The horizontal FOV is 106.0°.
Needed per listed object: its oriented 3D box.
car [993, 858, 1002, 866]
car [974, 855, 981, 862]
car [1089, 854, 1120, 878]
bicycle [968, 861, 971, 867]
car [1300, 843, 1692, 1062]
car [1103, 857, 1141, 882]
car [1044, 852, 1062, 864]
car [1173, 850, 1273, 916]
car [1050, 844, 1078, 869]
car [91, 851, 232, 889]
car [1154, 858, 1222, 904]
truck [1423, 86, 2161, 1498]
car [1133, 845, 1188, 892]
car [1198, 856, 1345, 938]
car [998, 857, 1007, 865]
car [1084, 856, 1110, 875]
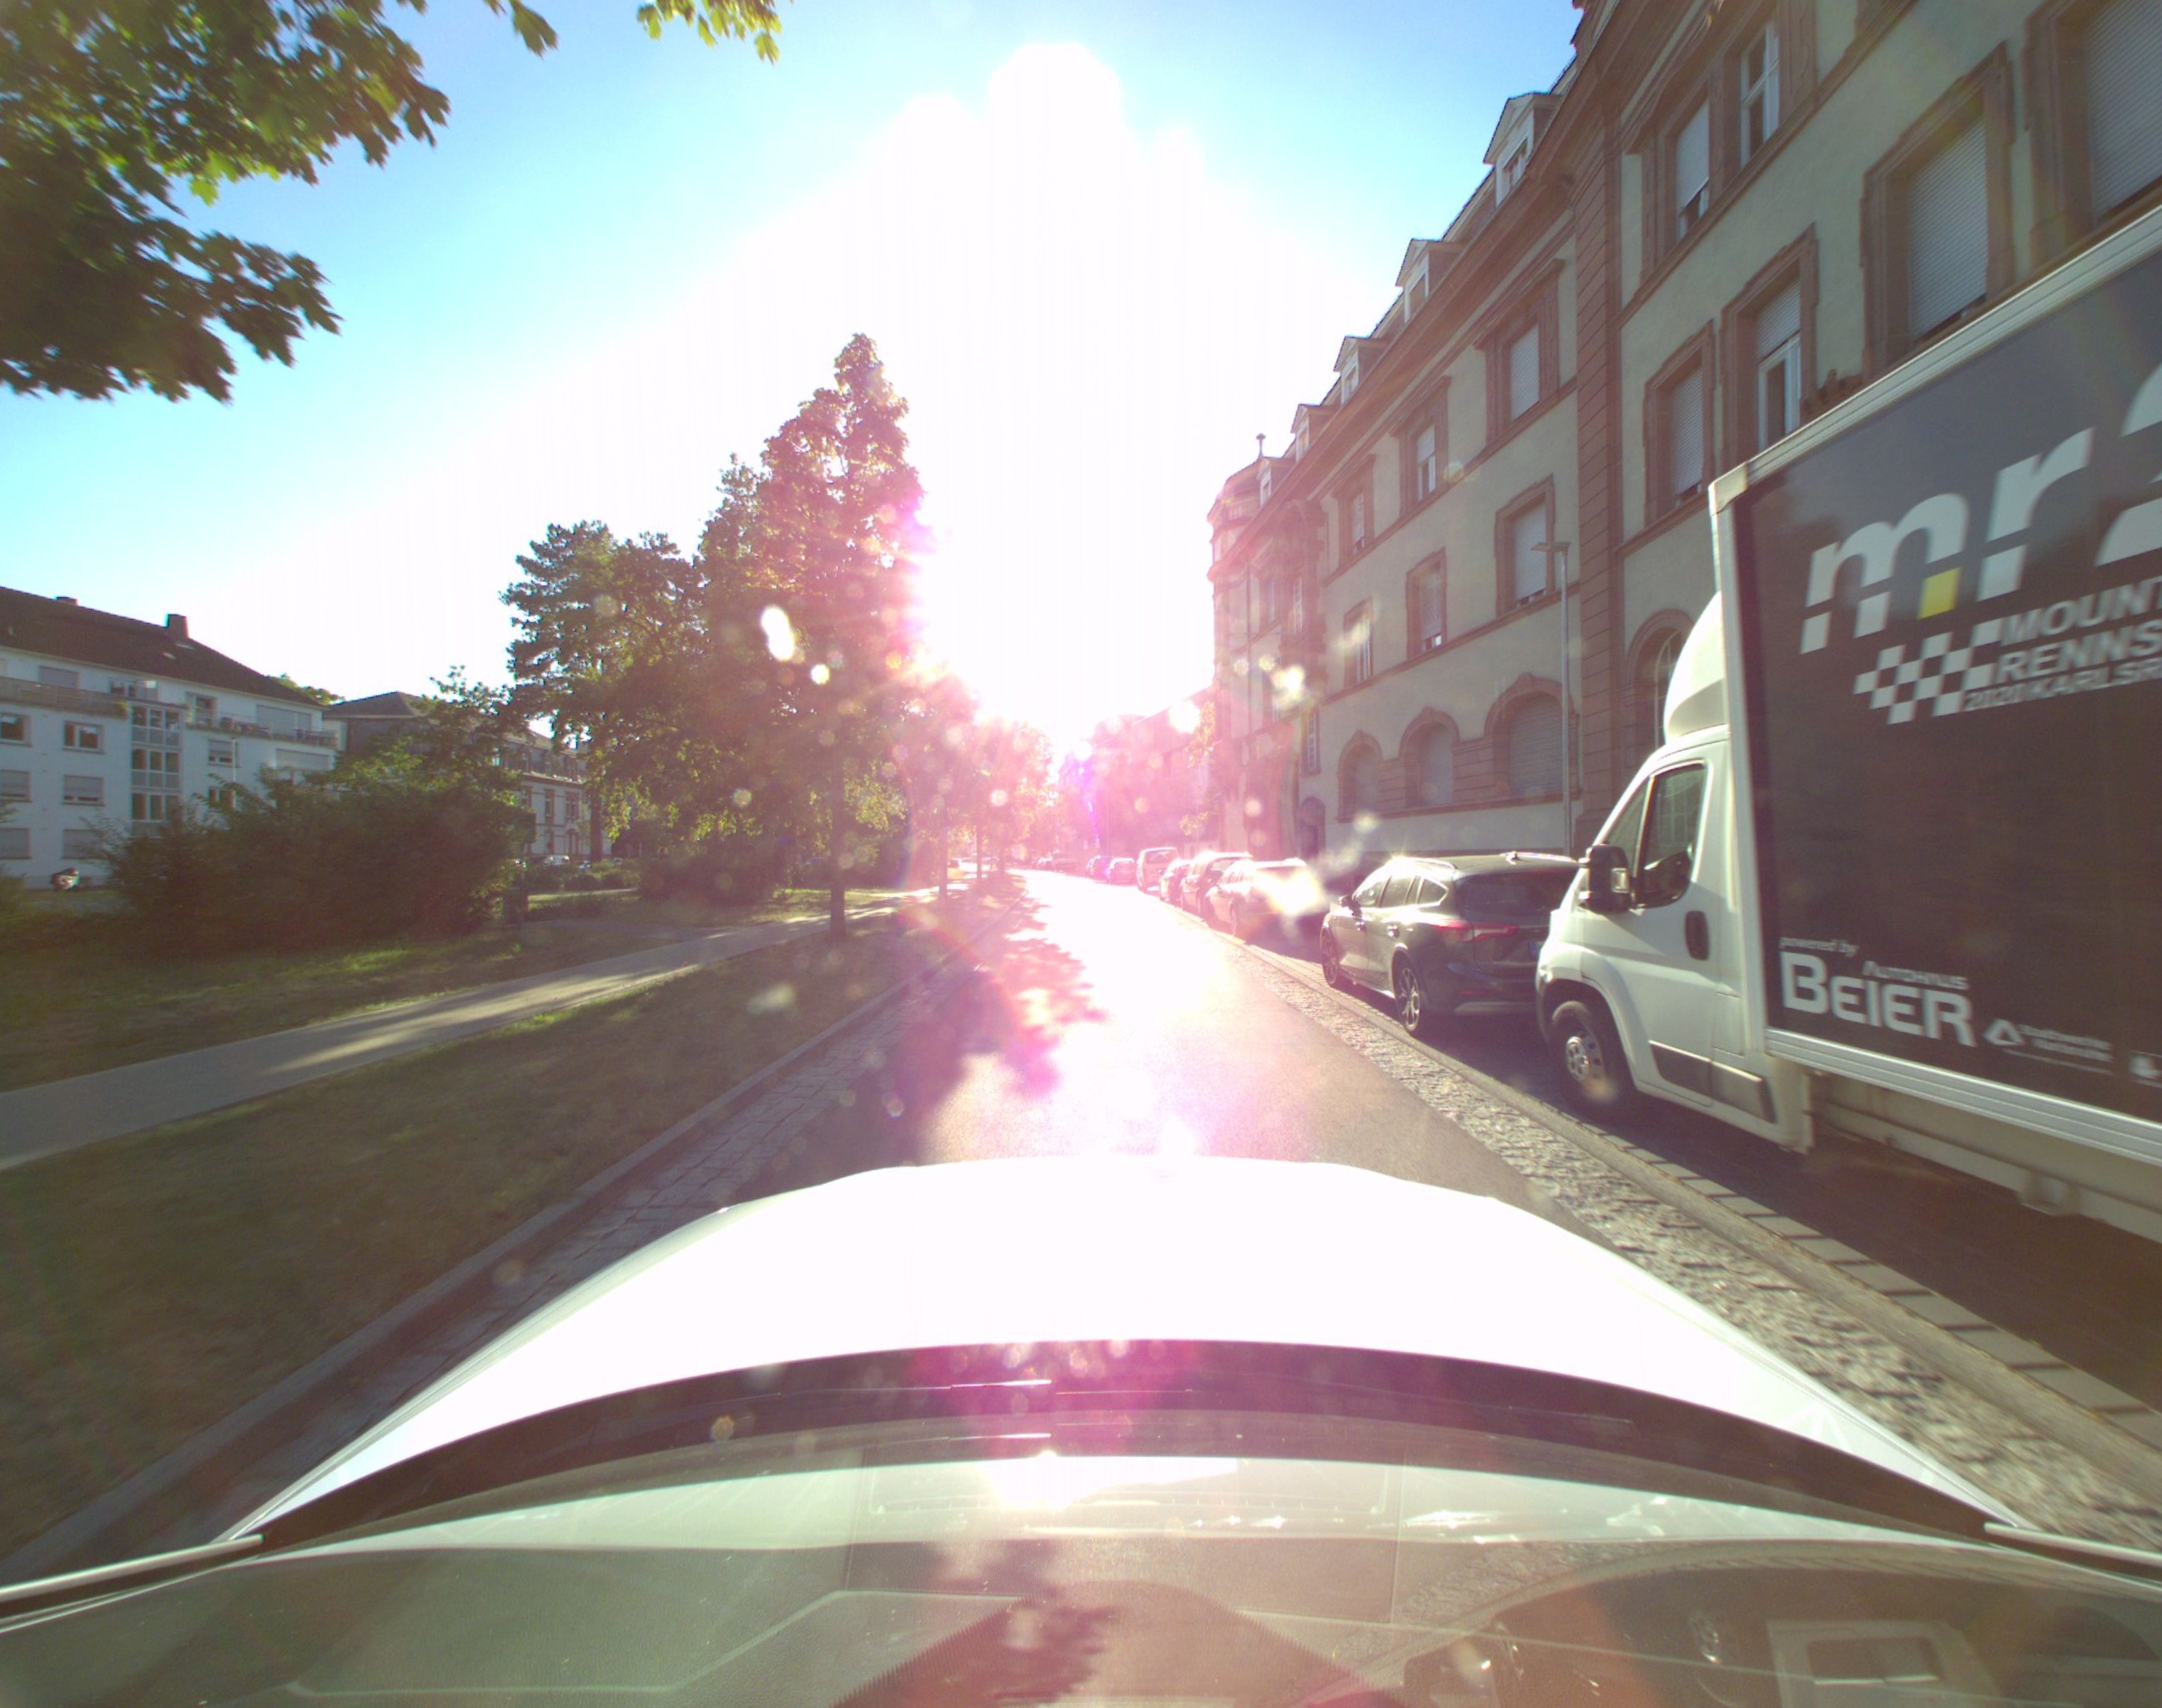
[{"bbox_3d":[-18.192,1.798,176.674,1.793,1.724,3.988,0,0,-9],"label":"car"},{"bbox_3d":[-29.097,1.350,228.241,1.793,1.999,3.988,0,0,-9],"label":"car"},{"bbox_3d":[1.701,0.841,60.640,1.722,1.669,4.104,-2,0,-7],"label":"car"},{"bbox_3d":[-25.468,2.194,185.563,0.687,1.202,2.339,0,4,-6],"label":"bicycle"},{"bbox_3d":[3.626,0.727,8.216,1.761,1.530,4.575,-2,0,3],"label":"car"},{"bbox_3d":[2.500,0.940,50.389,1.745,1.466,4.469,-1,0,-5],"label":"car"},{"bbox_3d":[-3.474,0.514,100.532,1.691,1.440,3.537,-1,0,-10],"label":"car"},{"bbox_3d":[3.780,0.736,22.469,1.811,1.602,4.188,-2,0,-3],"label":"car"},{"bbox_3d":[-1.908,0.299,89.545,2.211,2.530,6.128,-2,0,-9],"label":"car"},{"bbox_3d":[-47.455,0.779,42.206,1.985,1.852,4.587,-1,0,3],"label":"car"},{"bbox_3d":[3.555,0.854,27.803,1.674,1.403,4.197,-2,0,-1],"label":"car"},{"bbox_3d":[3.706,-0.148,2.601,2.615,3.120,6.087,-2,0,0],"label":"truck"},{"bbox_3d":[3.639,0.638,38.277,1.987,1.966,4.848,-4,0,0],"label":"car"},{"bbox_3d":[3.809,0.793,17.109,1.867,1.436,4.519,-2,0,-2],"label":"car"},{"bbox_3d":[-15.724,1.367,163.471,1.791,1.510,3.991,0,0,-6],"label":"car"},{"bbox_3d":[1.264,0.933,66.397,1.721,1.421,3.899,-1,0,-5],"label":"car"}]
